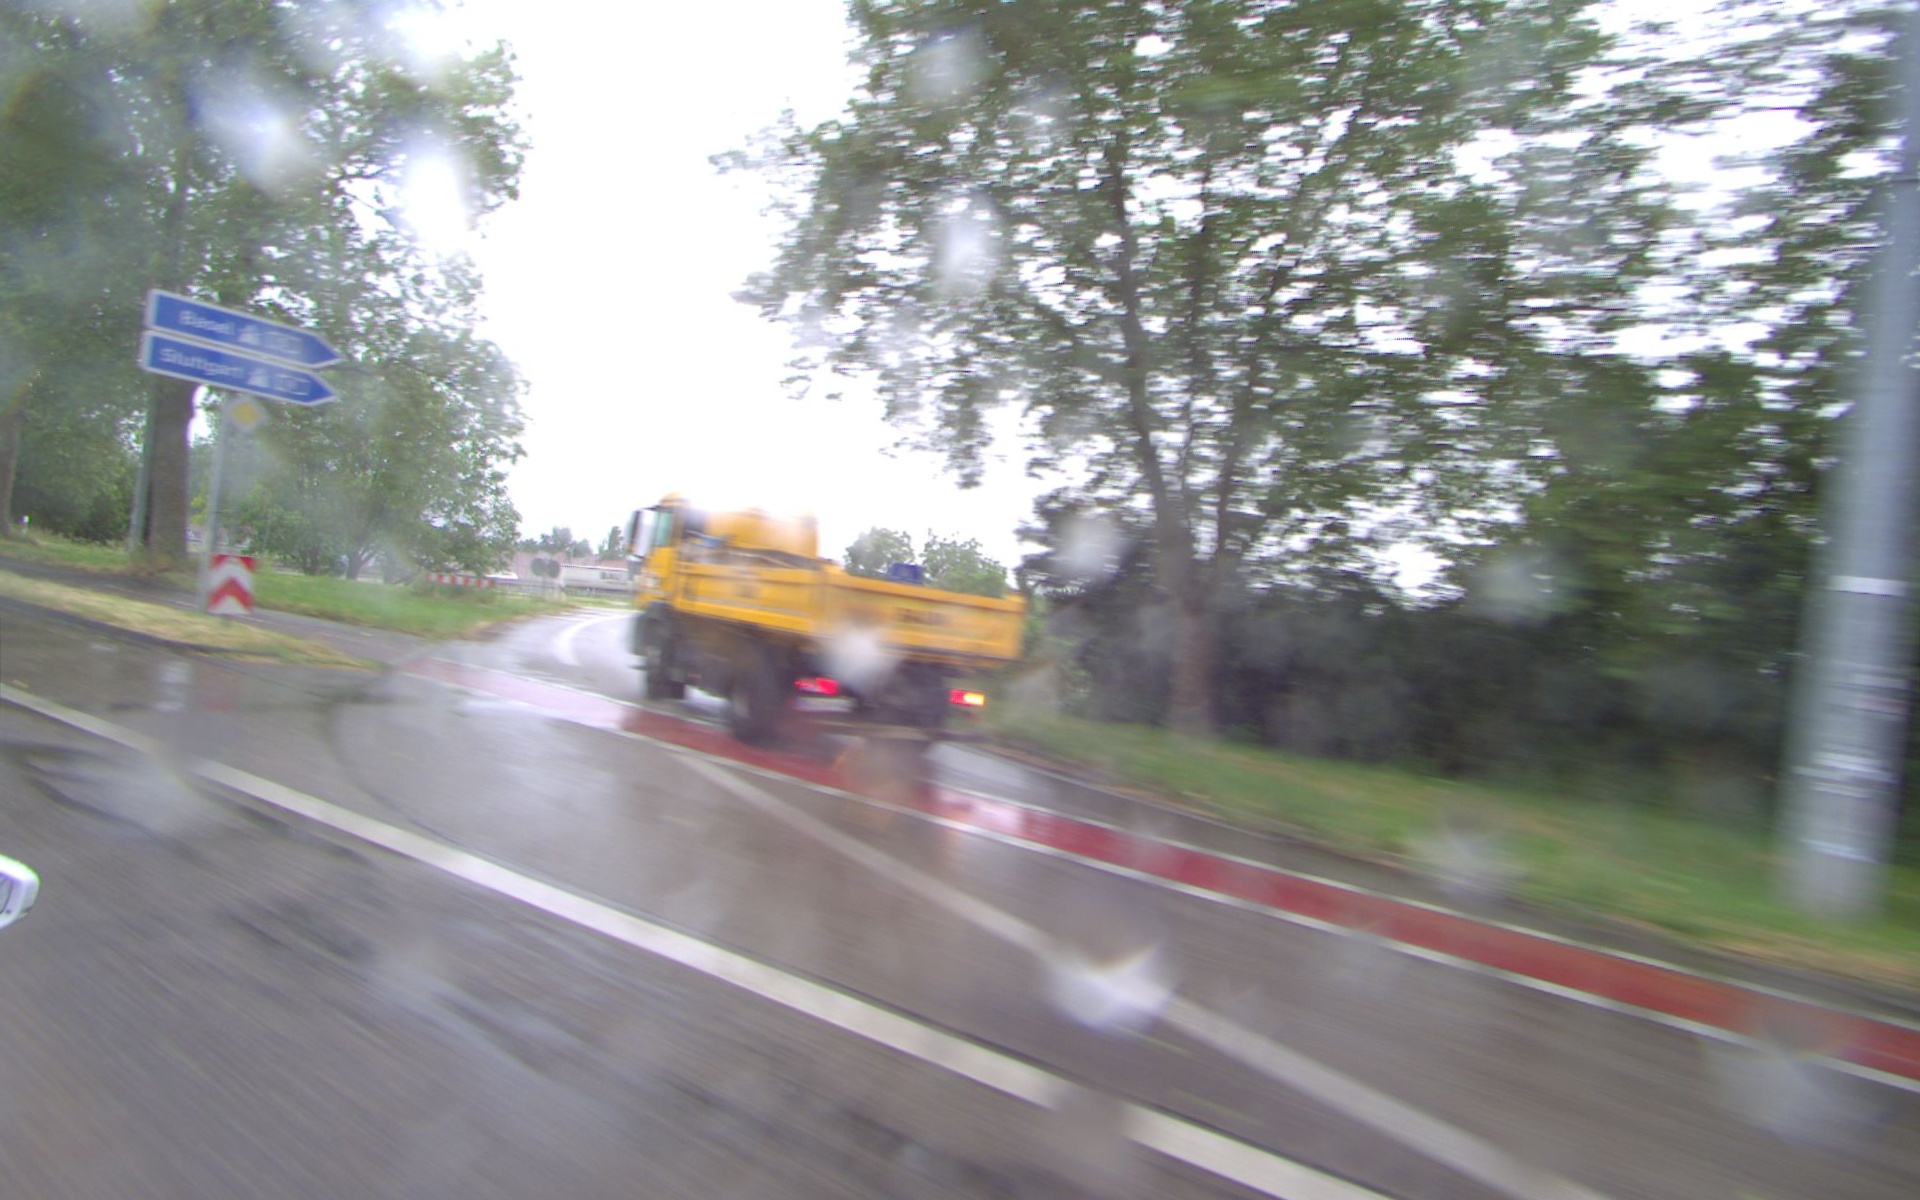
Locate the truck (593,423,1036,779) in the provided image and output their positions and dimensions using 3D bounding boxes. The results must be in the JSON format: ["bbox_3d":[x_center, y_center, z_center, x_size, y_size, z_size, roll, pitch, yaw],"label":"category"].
[{"bbox_3d":[-2.357,-0.071,13.086,2.542,3.295,6.868,9,-1,-35],"label":"truck"}]

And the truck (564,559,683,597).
[{"bbox_3d":[-50.897,-3.305,152.425,16.584,4.212,3.266,5,1,-30],"label":"truck"}]
